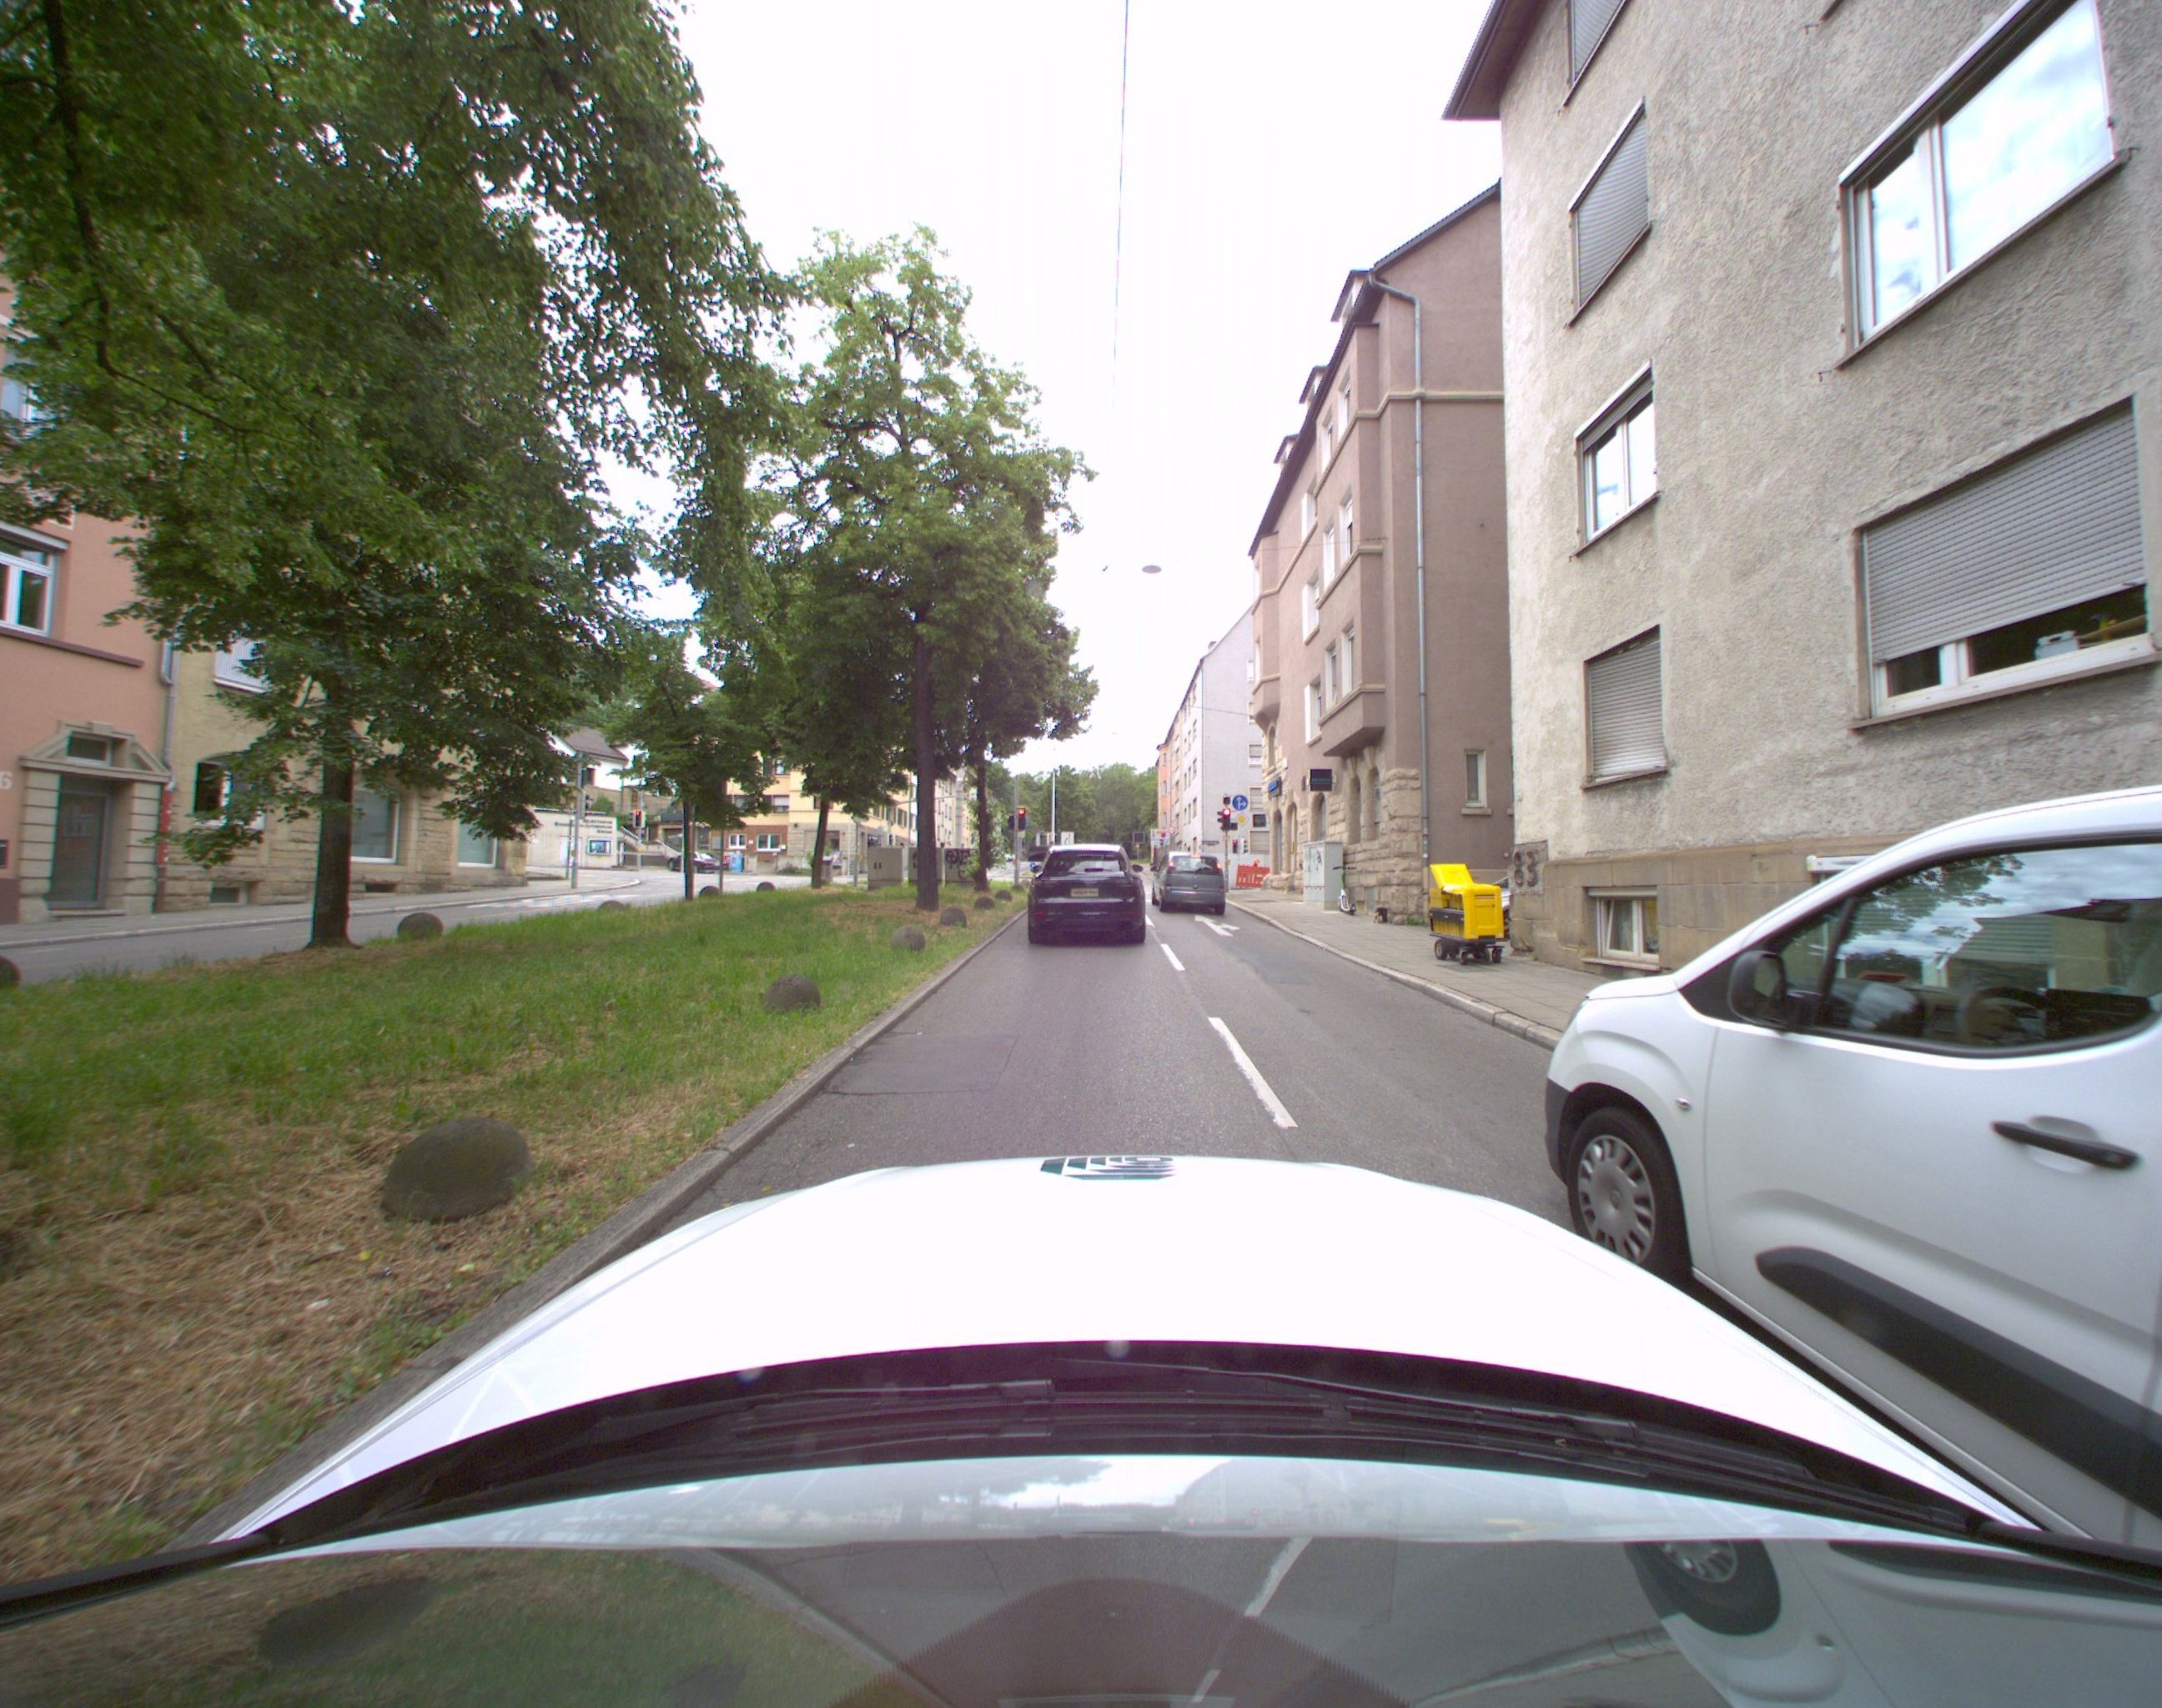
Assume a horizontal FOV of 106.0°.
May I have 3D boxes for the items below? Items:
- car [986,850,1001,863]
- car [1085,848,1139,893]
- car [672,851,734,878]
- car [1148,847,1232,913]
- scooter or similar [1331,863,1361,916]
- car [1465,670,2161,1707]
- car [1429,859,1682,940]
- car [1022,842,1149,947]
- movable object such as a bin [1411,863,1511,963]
[{"bbox_3d":[-12.654,0.301,118.148,1.788,1.810,4.000,0,0,0],"label":"car"},{"bbox_3d":[1.233,0.630,32.473,1.986,1.653,4.002,-1,-1,2],"label":"car"},{"bbox_3d":[-24.443,0.716,52.631,3.948,1.665,1.894,-1,-2,34],"label":"car"},{"bbox_3d":[2.901,0.658,22.368,1.747,1.593,3.629,2,0,-1],"label":"car"},{"bbox_3d":[6.439,0.846,19.827,0.399,1.188,1.356,-1,1,5],"label":"scooter or similar"},{"bbox_3d":[2.762,0.635,1.827,1.840,1.825,5.027,1,-1,5],"label":"car"},{"bbox_3d":[9.287,0.859,16.196,3.972,1.403,1.801,0,2,1],"label":"car"},{"bbox_3d":[0.148,0.626,14.919,1.986,1.652,4.002,-1,1,2],"label":"car"},{"bbox_3d":[5.755,0.854,12.445,0.717,1.421,1.692,-1,-1,-1],"label":"movable object such as a bin"}]
